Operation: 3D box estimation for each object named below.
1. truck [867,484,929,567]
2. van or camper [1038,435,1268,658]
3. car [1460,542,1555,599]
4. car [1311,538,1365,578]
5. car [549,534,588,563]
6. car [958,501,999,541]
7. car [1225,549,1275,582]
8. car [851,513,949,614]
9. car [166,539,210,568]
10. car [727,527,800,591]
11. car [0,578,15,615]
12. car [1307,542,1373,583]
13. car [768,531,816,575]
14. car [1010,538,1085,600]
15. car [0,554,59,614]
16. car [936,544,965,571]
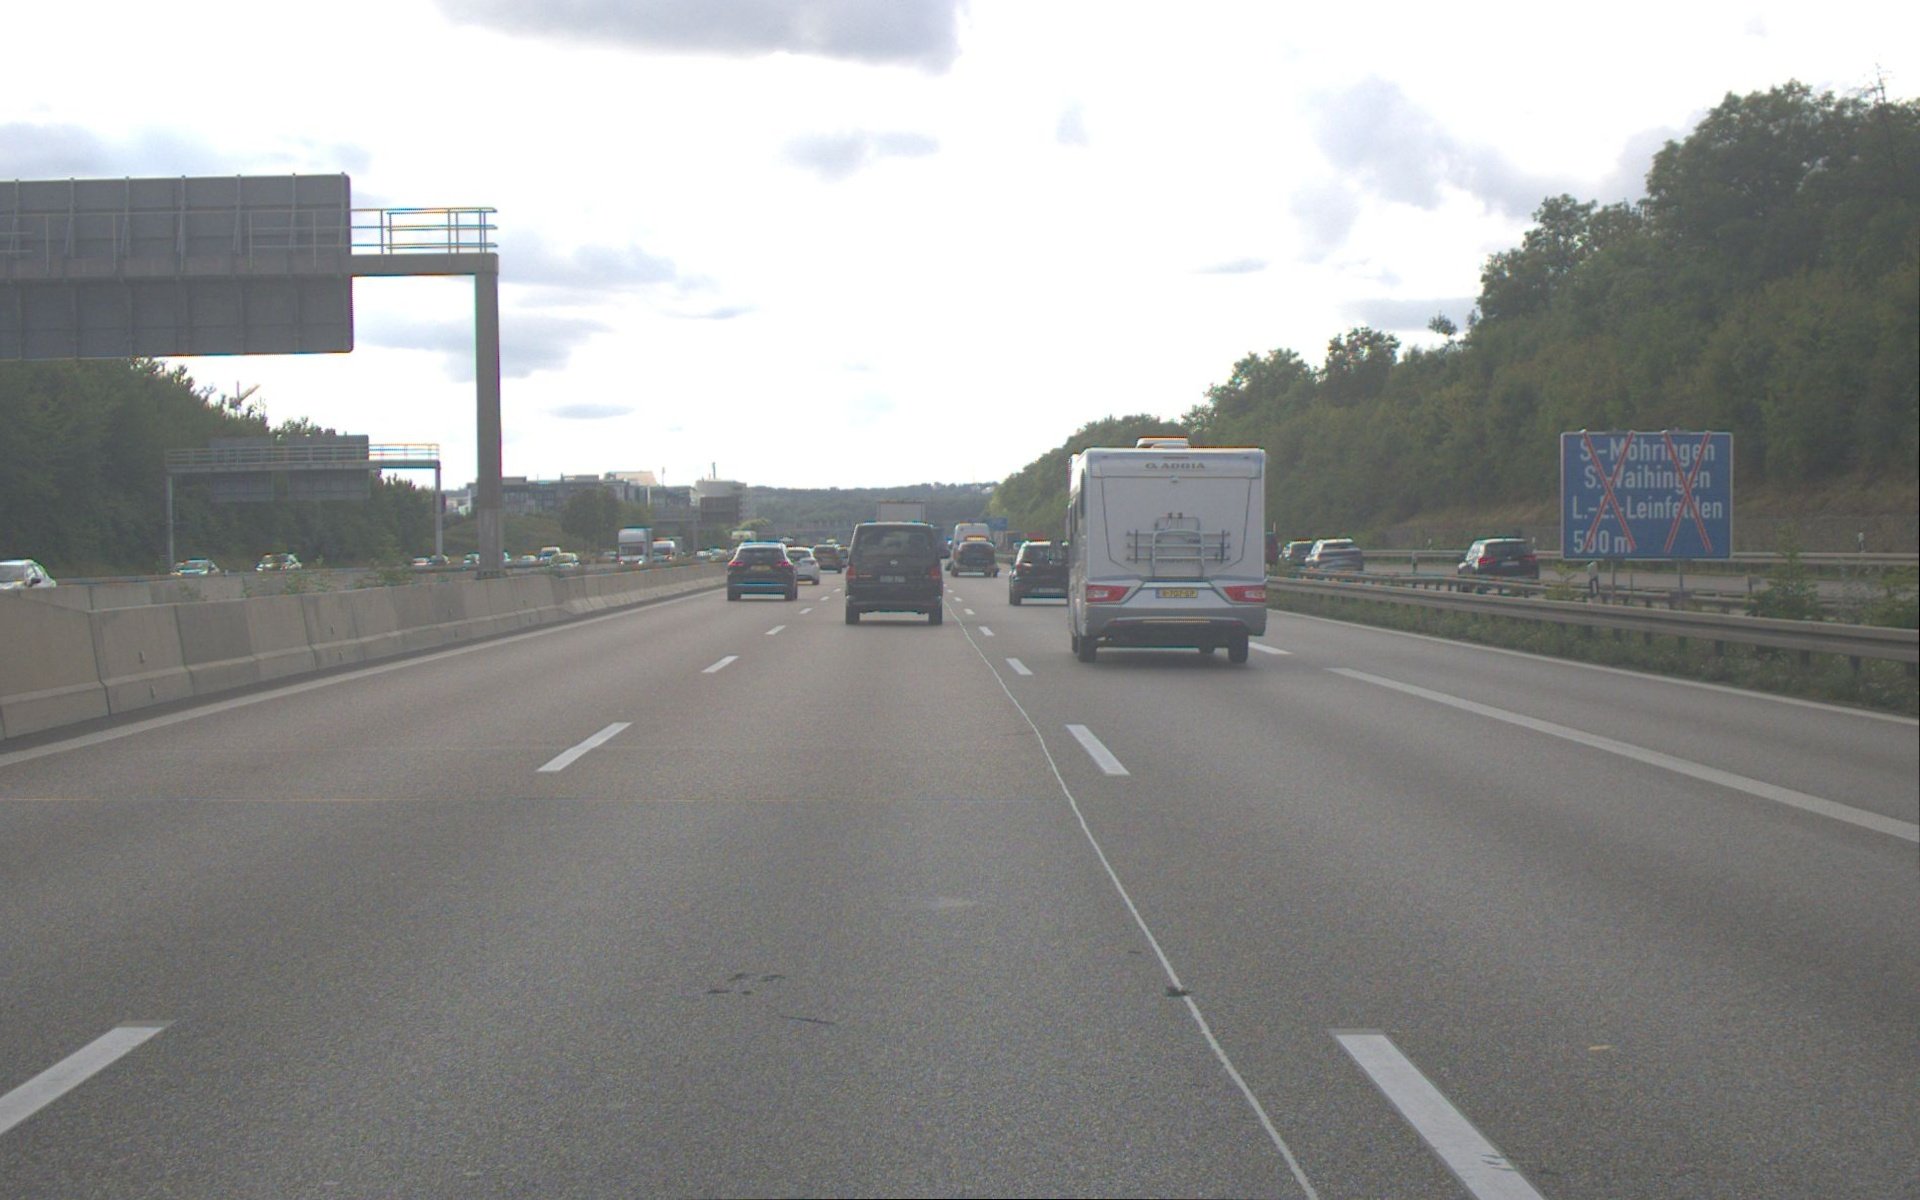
[{"bbox_3d":[-3.441,-4.068,189.068,3.263,4.360,11.027,1,1,-1],"label":"truck"},{"bbox_3d":[2.461,-0.730,46.177,2.468,2.712,7.662,1,1,-1],"label":"van or camper"},{"bbox_3d":[15.474,-0.859,97.390,1.843,1.479,4.526,-2,1,-1],"label":"car"},{"bbox_3d":[14.683,-1.641,133.804,1.541,1.479,3.942,-2,1,-1],"label":"car"},{"bbox_3d":[-24.031,-3.172,211.157,1.834,1.780,5.504,-1,1,-2],"label":"car"},{"bbox_3d":[0.881,-3.850,168.116,1.913,1.912,4.031,0,1,-1],"label":"car"},{"bbox_3d":[14.211,-1.691,168.604,1.843,1.479,4.526,-2,1,-2],"label":"car"},{"bbox_3d":[-1.182,-0.731,67.066,1.855,1.904,4.260,0,1,-1],"label":"car"},{"bbox_3d":[-40.494,-2.448,180.393,1.502,1.422,4.109,-1,1,-2],"label":"car"},{"bbox_3d":[-5.383,-1.133,94.622,1.873,1.692,4.072,0,1,-1],"label":"car"},{"bbox_3d":[-39.717,-0.110,139.431,1.657,1.439,4.324,-1,1,-2],"label":"car"},{"bbox_3d":[14.787,-1.463,134.119,1.843,1.479,4.526,-2,1,-2],"label":"car"},{"bbox_3d":[-6.277,-1.762,128.877,1.697,1.605,4.114,0,1,-2],"label":"car"},{"bbox_3d":[2.226,-0.819,88.492,1.697,1.559,4.114,0,1,-2],"label":"car"},{"bbox_3d":[-21.949,-0.370,78.590,1.642,1.310,4.248,-1,1,-1],"label":"car"},{"bbox_3d":[-0.637,-2.732,218.768,1.752,1.689,4.190,0,1,-1],"label":"car"}]
